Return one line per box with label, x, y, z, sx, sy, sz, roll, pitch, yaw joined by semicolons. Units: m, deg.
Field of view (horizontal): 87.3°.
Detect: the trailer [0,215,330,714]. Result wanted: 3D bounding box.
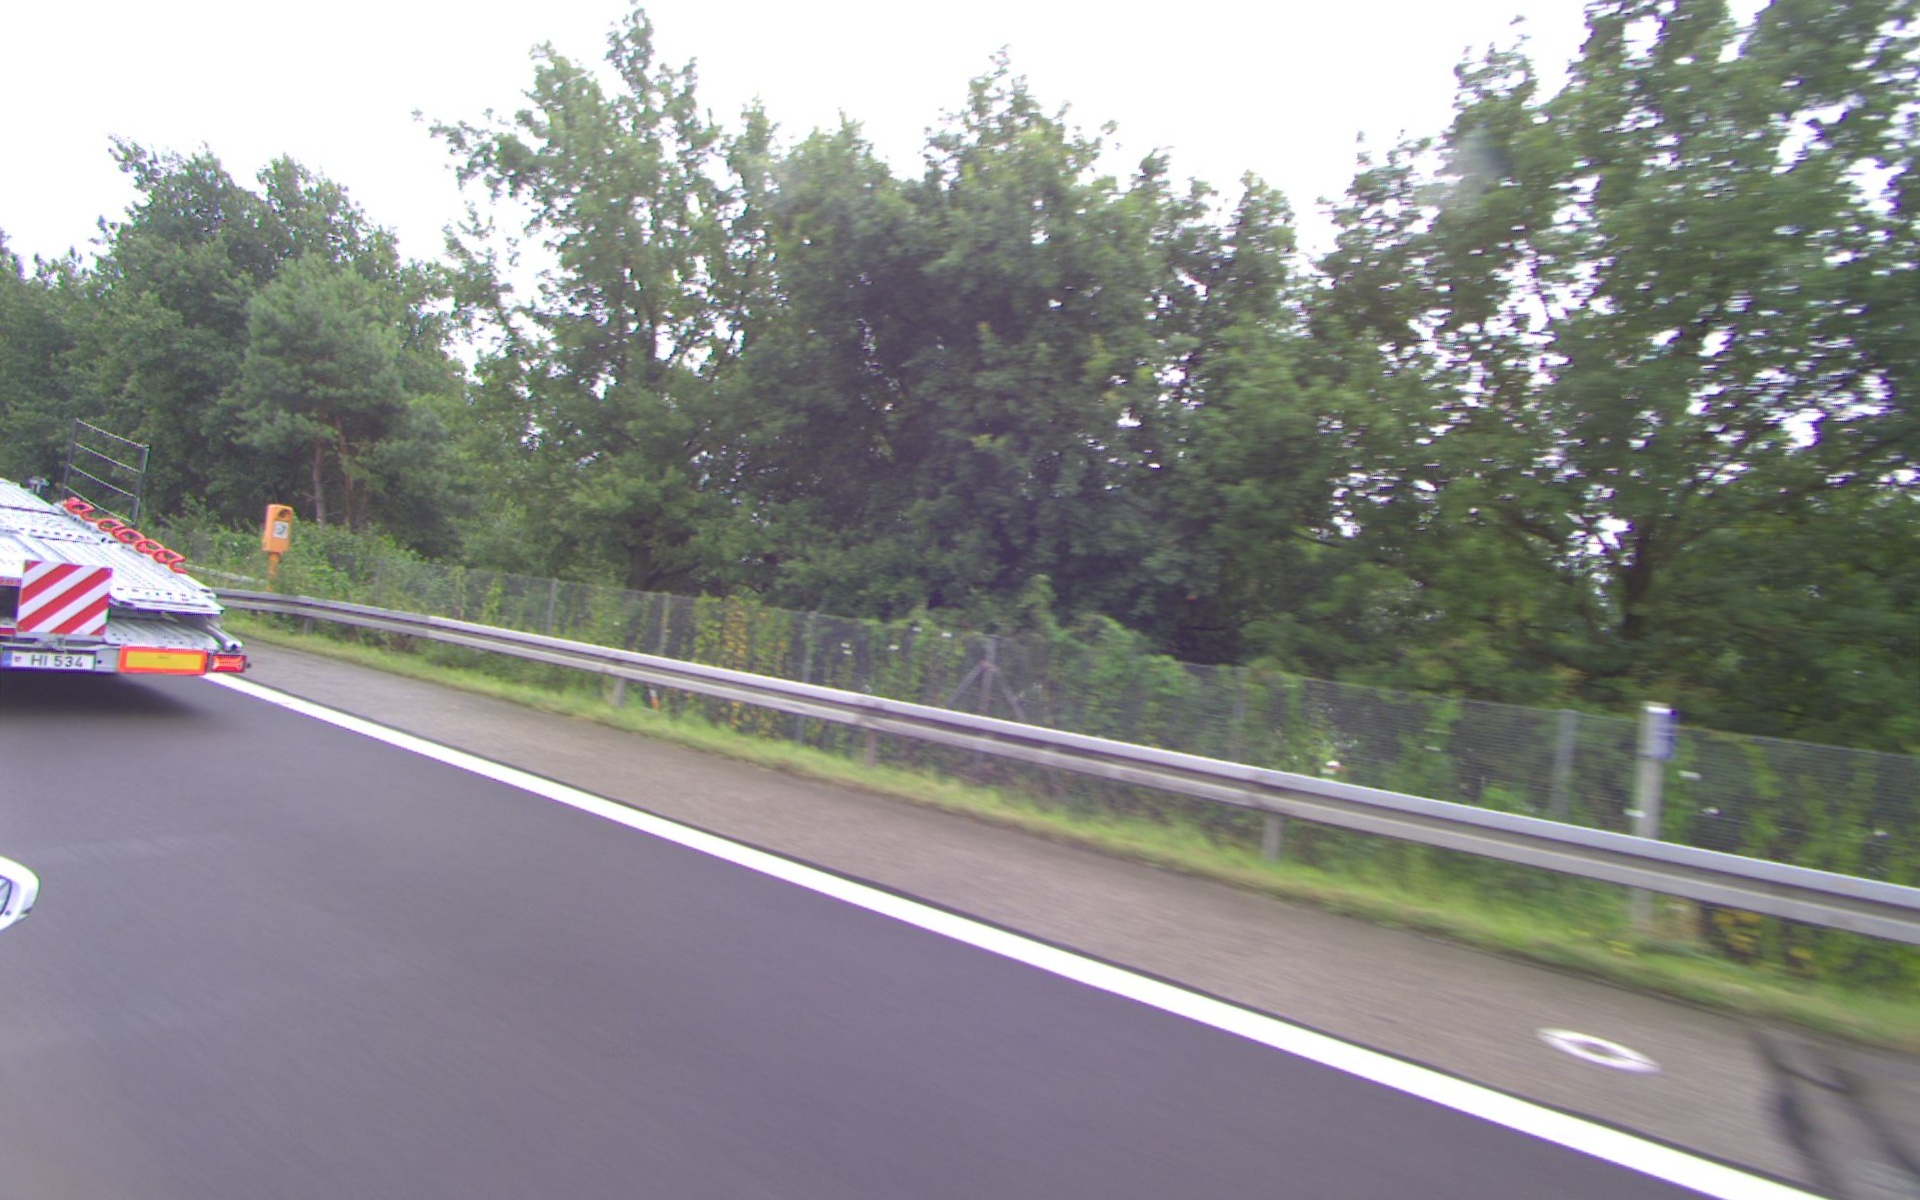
trailer;-10.454;-1.338;10.132;10.240;3.323;2.781;7;-2;34
